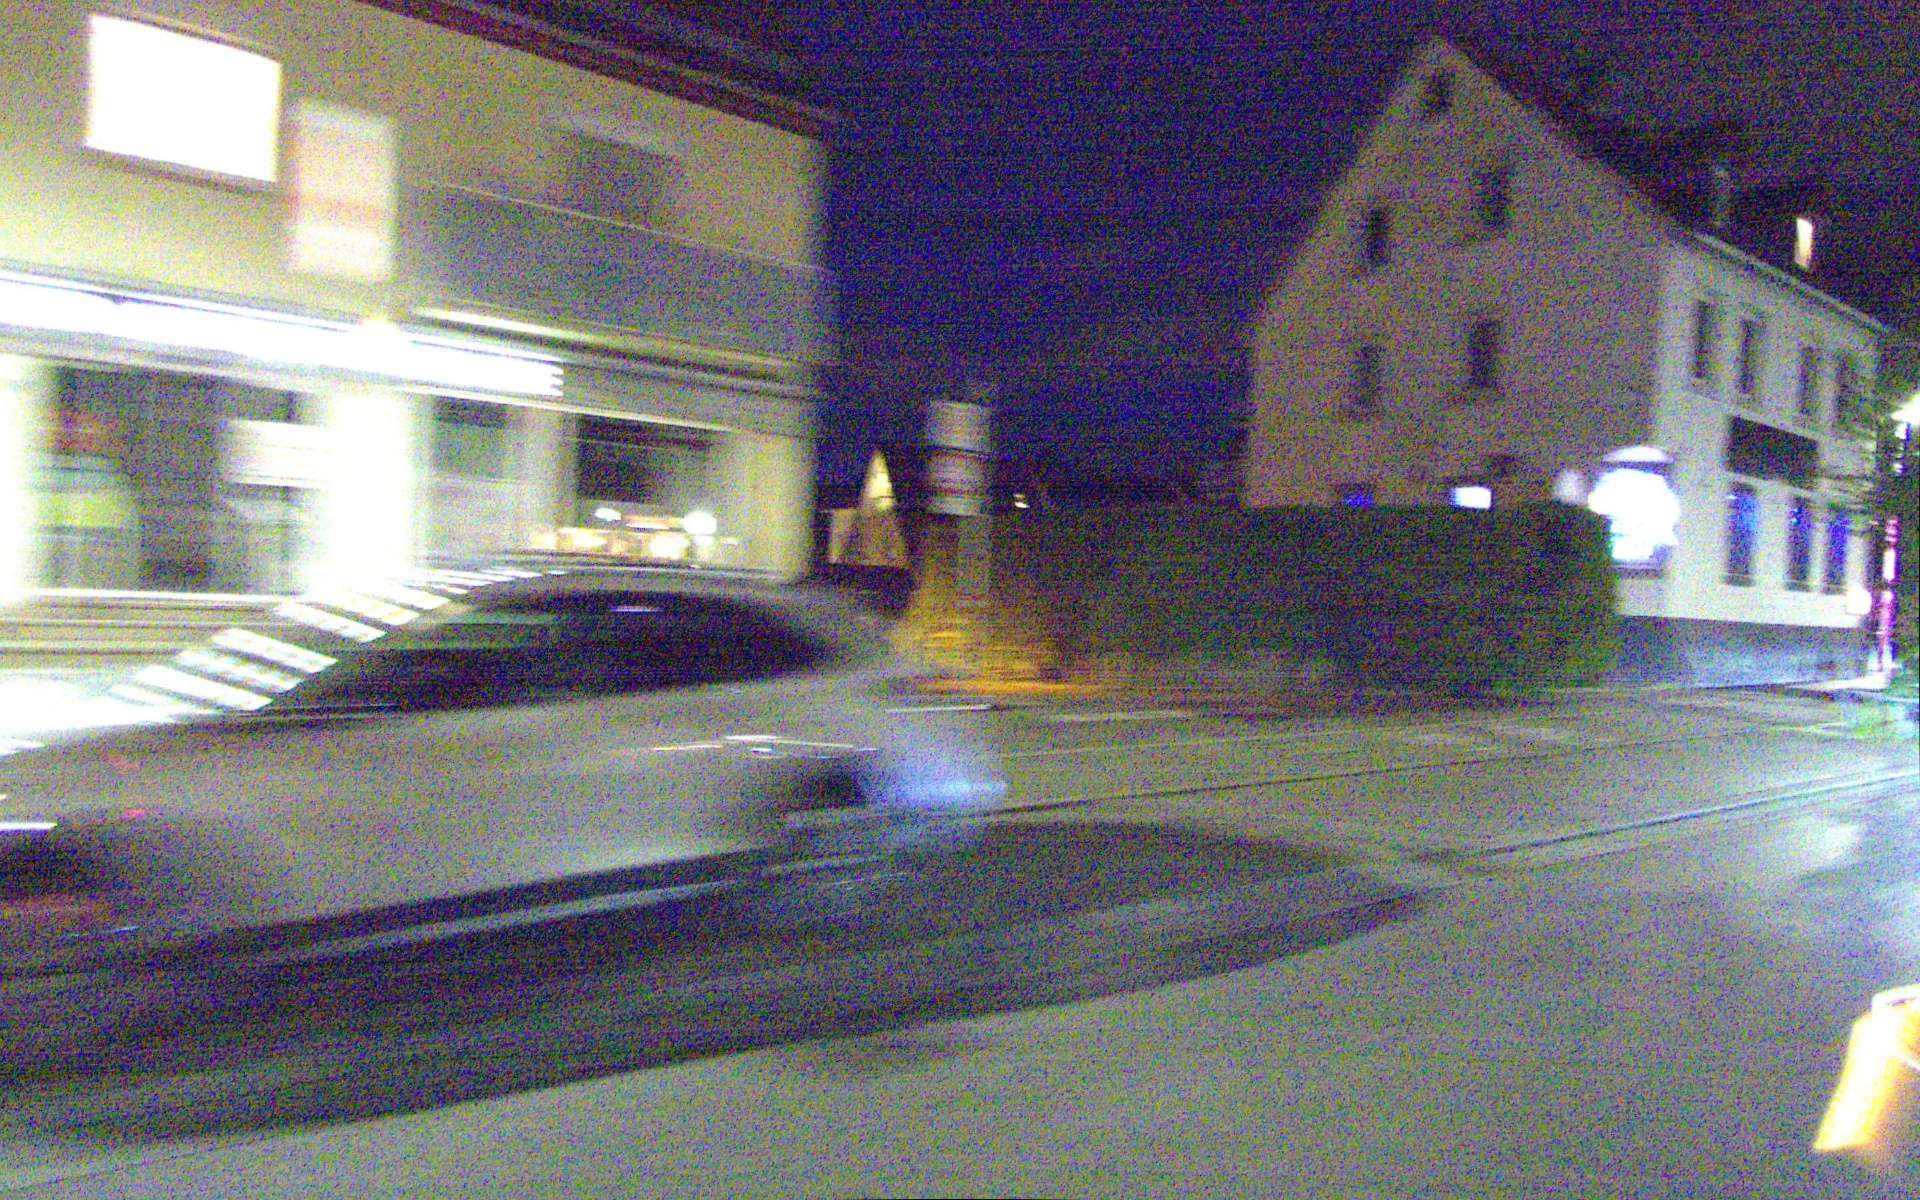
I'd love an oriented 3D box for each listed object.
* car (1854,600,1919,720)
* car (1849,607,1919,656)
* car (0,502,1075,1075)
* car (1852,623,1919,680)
[{"bbox_3d":[15.563,0.917,15.133,4.421,1.659,1.918,1,2,-32],"label":"car"},{"bbox_3d":[34.495,1.133,35.771,1.930,1.725,3.957,1,-1,-37],"label":"car"},{"bbox_3d":[-1.896,0.504,4.447,4.429,1.569,2.103,2,2,-33],"label":"car"},{"bbox_3d":[29.957,1.592,30.328,1.976,1.684,4.097,1,-1,-29],"label":"car"}]
